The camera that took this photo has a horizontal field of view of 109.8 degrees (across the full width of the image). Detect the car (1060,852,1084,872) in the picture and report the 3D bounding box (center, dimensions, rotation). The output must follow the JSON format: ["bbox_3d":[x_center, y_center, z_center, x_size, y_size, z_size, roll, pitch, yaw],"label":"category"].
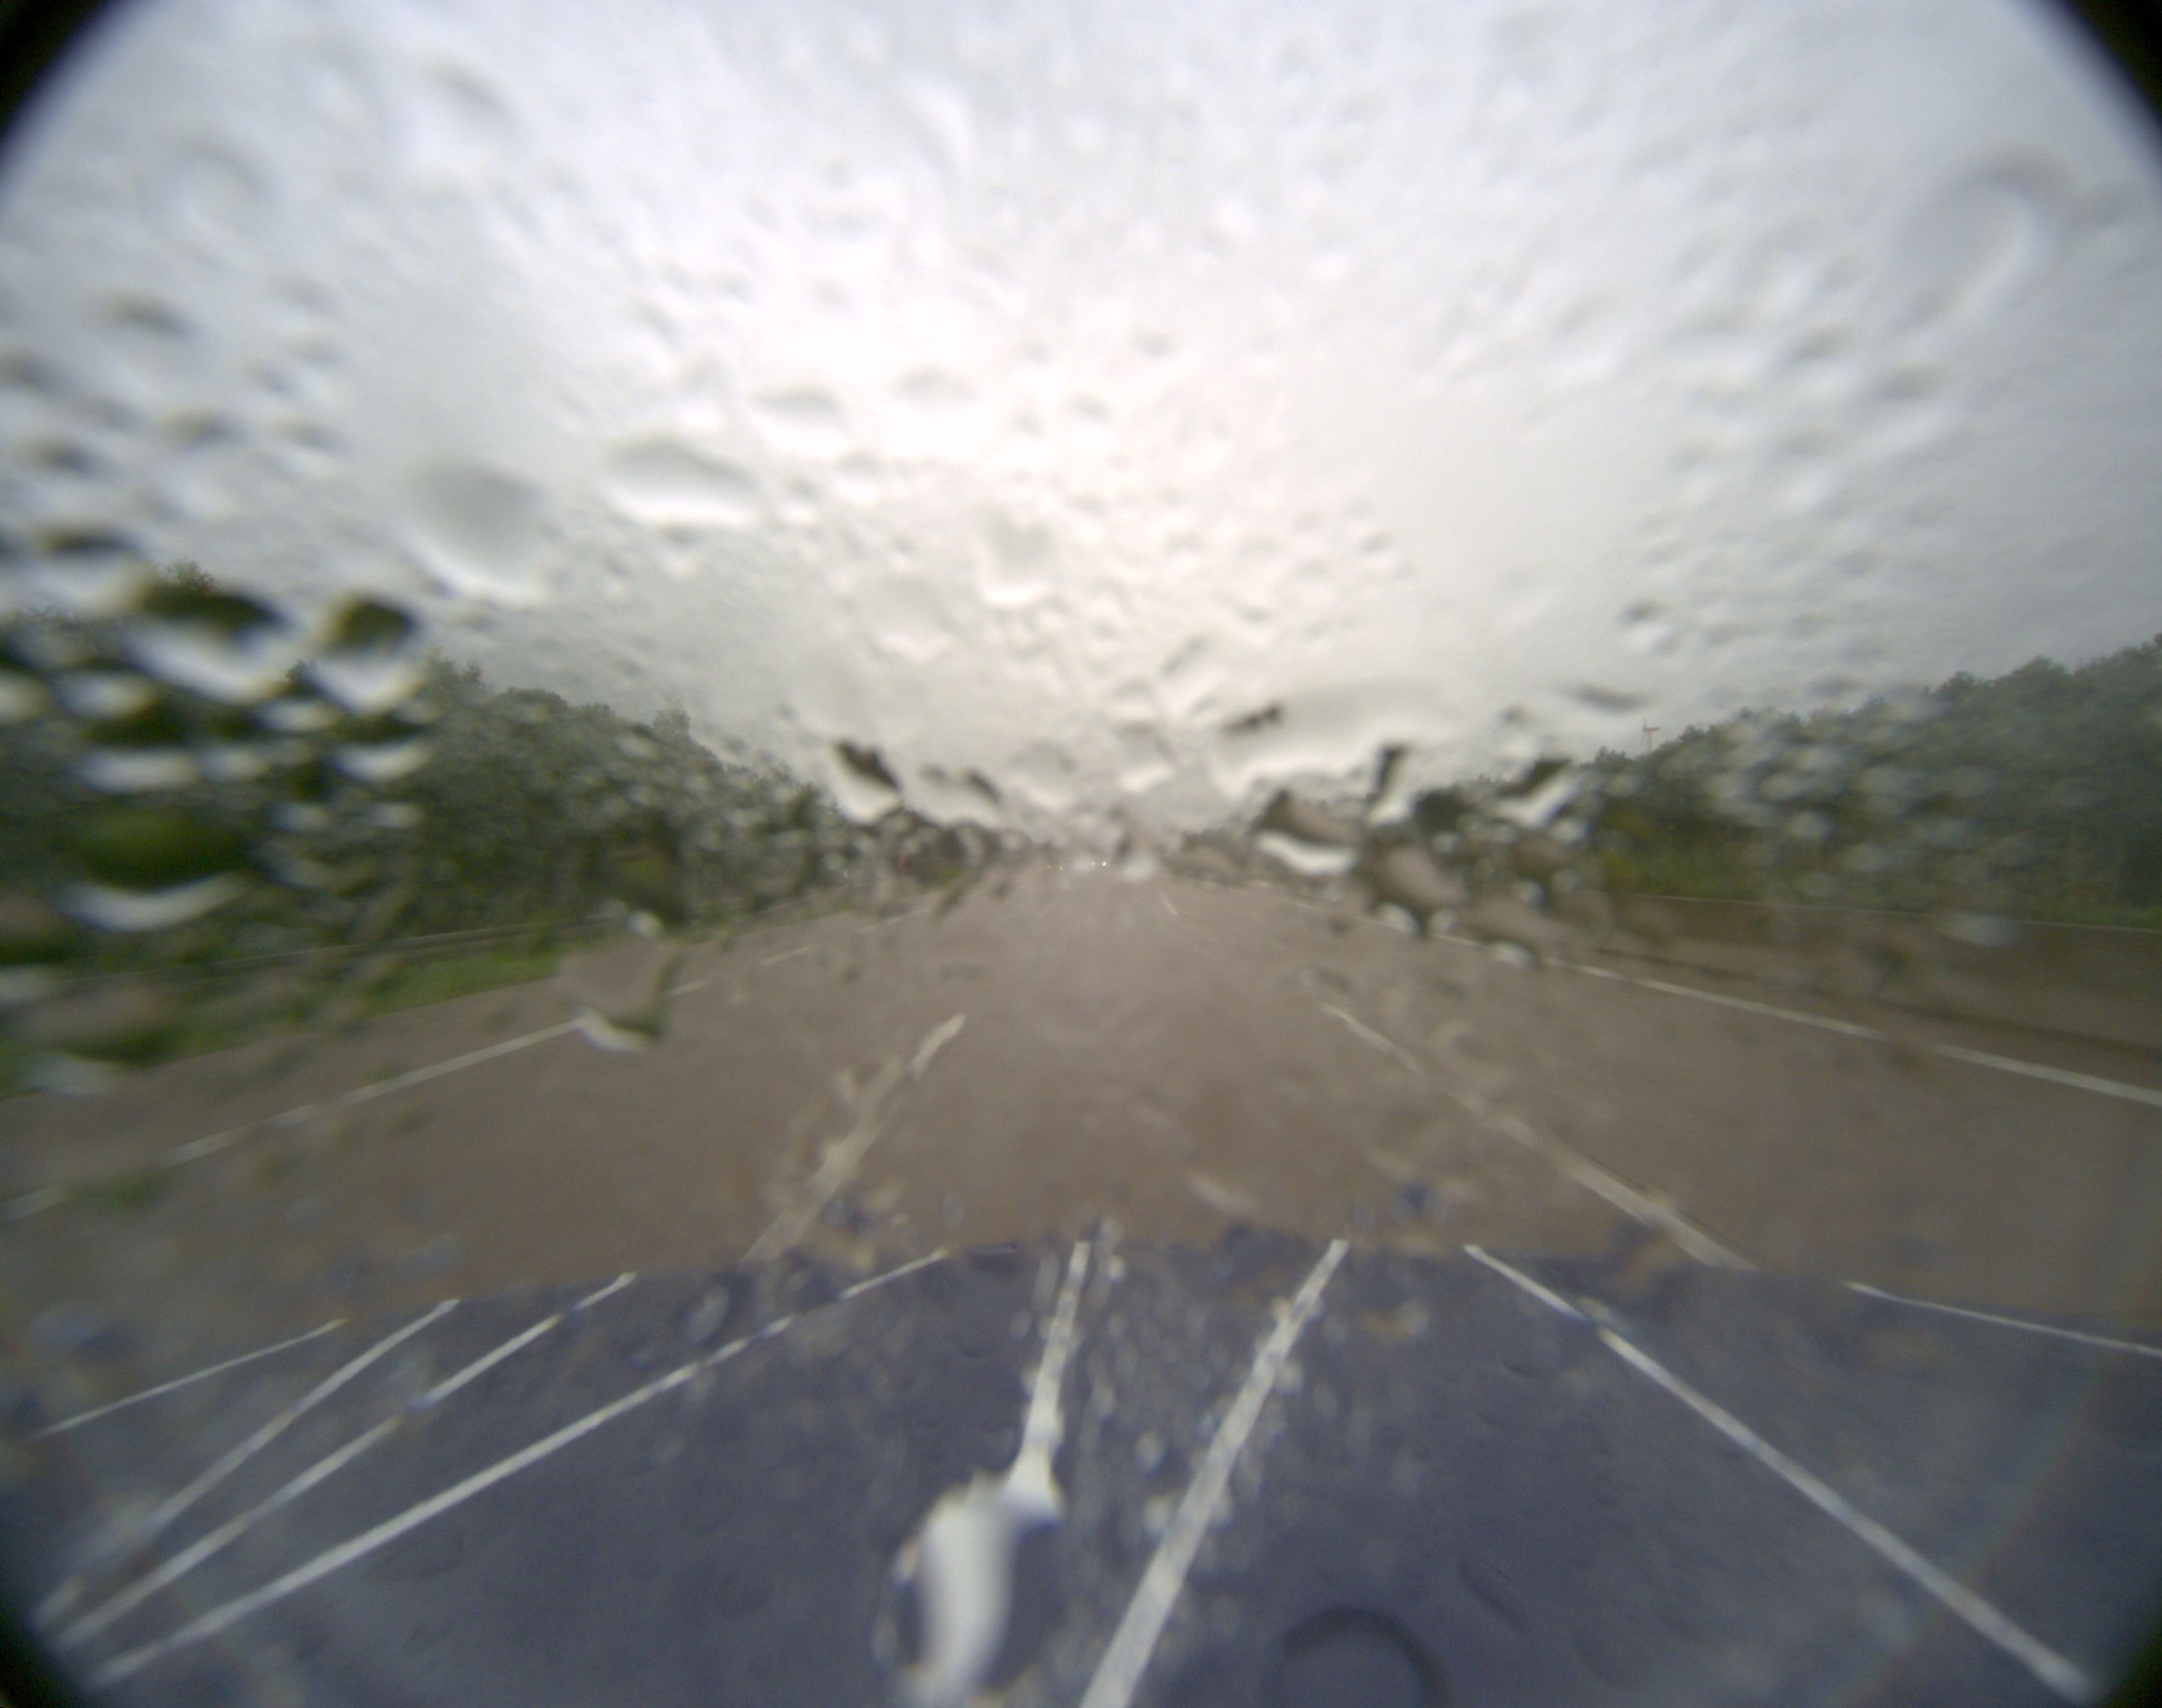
[{"bbox_3d":[-0.801,0.744,71.397,1.812,1.718,4.745,-2,0,3],"label":"car"}]

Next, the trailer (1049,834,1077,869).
[{"bbox_3d":[-2.294,-0.138,100.875,2.859,4.205,13.137,0,-2,2],"label":"trailer"}]

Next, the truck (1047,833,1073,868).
[{"bbox_3d":[-2.552,-0.337,94.514,2.887,4.081,6.352,0,-2,2],"label":"truck"}]
